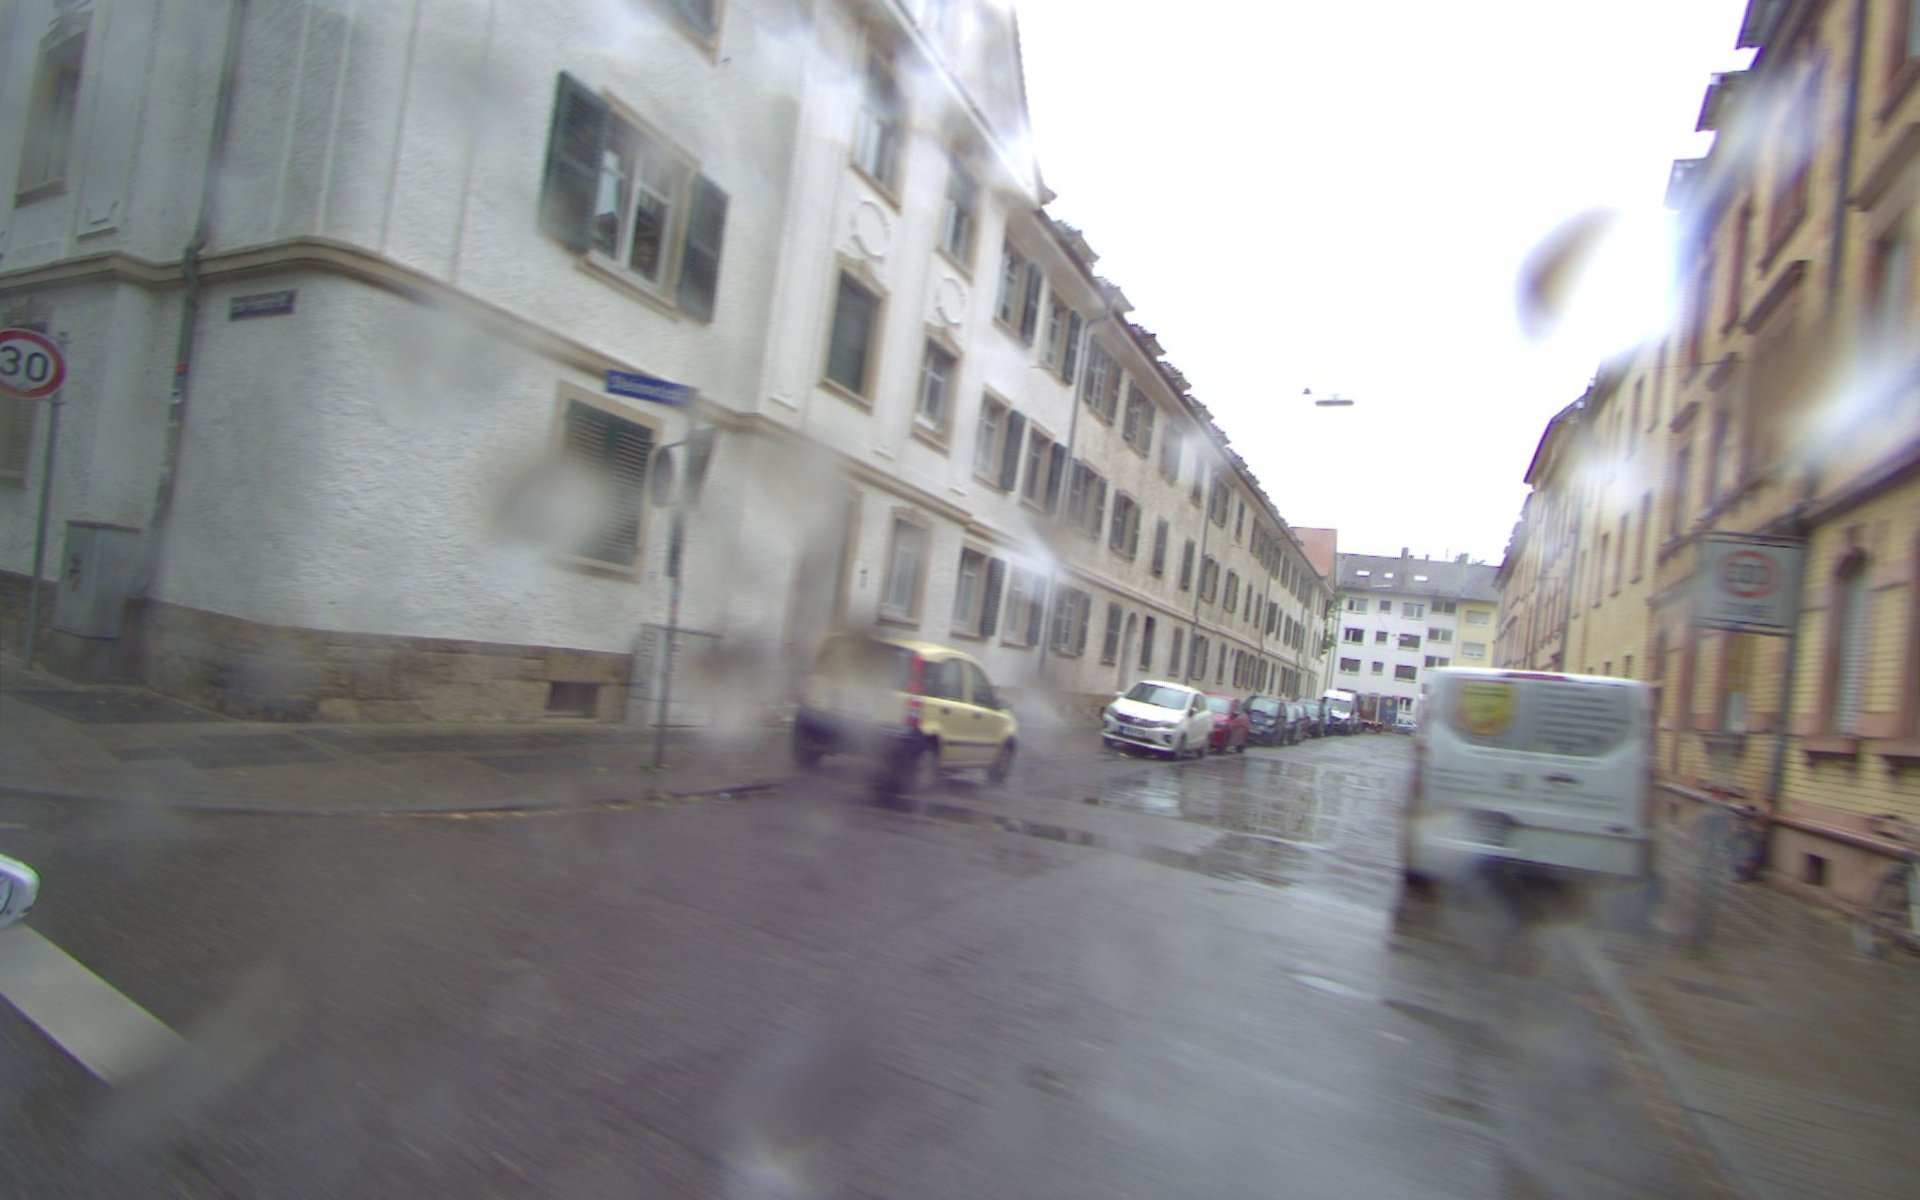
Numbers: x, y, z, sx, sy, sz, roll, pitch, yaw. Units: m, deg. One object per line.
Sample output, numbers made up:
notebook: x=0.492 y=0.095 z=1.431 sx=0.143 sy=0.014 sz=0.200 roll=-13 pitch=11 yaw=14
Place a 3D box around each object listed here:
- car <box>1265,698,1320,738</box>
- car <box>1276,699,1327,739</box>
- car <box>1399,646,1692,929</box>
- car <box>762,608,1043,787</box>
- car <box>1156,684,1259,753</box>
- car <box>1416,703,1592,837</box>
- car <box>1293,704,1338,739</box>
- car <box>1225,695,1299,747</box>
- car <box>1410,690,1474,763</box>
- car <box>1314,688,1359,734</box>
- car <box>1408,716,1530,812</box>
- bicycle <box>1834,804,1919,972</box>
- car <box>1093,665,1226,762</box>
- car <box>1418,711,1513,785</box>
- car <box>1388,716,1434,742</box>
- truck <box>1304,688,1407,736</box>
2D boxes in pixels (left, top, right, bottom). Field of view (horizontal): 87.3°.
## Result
car: x=14.533 y=5.168 z=43.845 sx=1.687 sy=1.407 sz=3.603 roll=8 pitch=-3 yaw=26
car: x=16.277 y=5.695 z=47.882 sx=1.687 sy=1.523 sz=3.603 roll=8 pitch=-3 yaw=26
car: x=5.439 y=1.645 z=9.712 sx=1.901 sy=1.964 sz=4.244 roll=3 pitch=-6 yaw=27
car: x=-0.491 y=1.136 z=11.548 sx=1.686 sy=1.502 sz=3.371 roll=9 pitch=-3 yaw=24
car: x=6.506 y=3.104 z=26.184 sx=1.687 sy=1.407 sz=3.733 roll=8 pitch=-3 yaw=26
car: x=8.029 y=2.473 z=15.224 sx=1.899 sy=1.502 sz=4.247 roll=5 pitch=-5 yaw=24
car: x=18.813 y=6.450 z=53.205 sx=1.687 sy=1.523 sz=3.603 roll=8 pitch=-3 yaw=26
car: x=10.561 y=4.240 z=34.966 sx=1.687 sy=1.424 sz=4.003 roll=8 pitch=-3 yaw=26
car: x=22.103 y=5.804 z=46.239 sx=2.306 sy=2.900 sz=5.757 roll=5 pitch=-4 yaw=26
car: x=22.806 y=6.764 z=60.849 sx=1.957 sy=2.350 sz=4.362 roll=8 pitch=-3 yaw=25
car: x=10.322 y=3.273 z=20.523 sx=1.900 sy=1.502 sz=4.245 roll=5 pitch=-5 yaw=27
bicycle: x=7.029 y=2.101 z=7.386 sx=0.427 sy=1.018 sz=1.543 roll=7 pitch=-3 yaw=25
car: x=4.351 y=2.449 z=21.505 sx=1.687 sy=1.640 sz=3.733 roll=8 pitch=-3 yaw=26
car: x=12.967 y=3.761 z=25.890 sx=1.900 sy=1.502 sz=4.245 roll=5 pitch=-5 yaw=27
car: x=38.450 y=11.019 z=85.778 sx=3.375 sy=1.585 sz=1.744 roll=8 pitch=-3 yaw=26
truck: x=32.564 y=9.196 z=83.287 sx=2.726 sy=2.998 sz=8.327 roll=9 pitch=-5 yaw=-21
